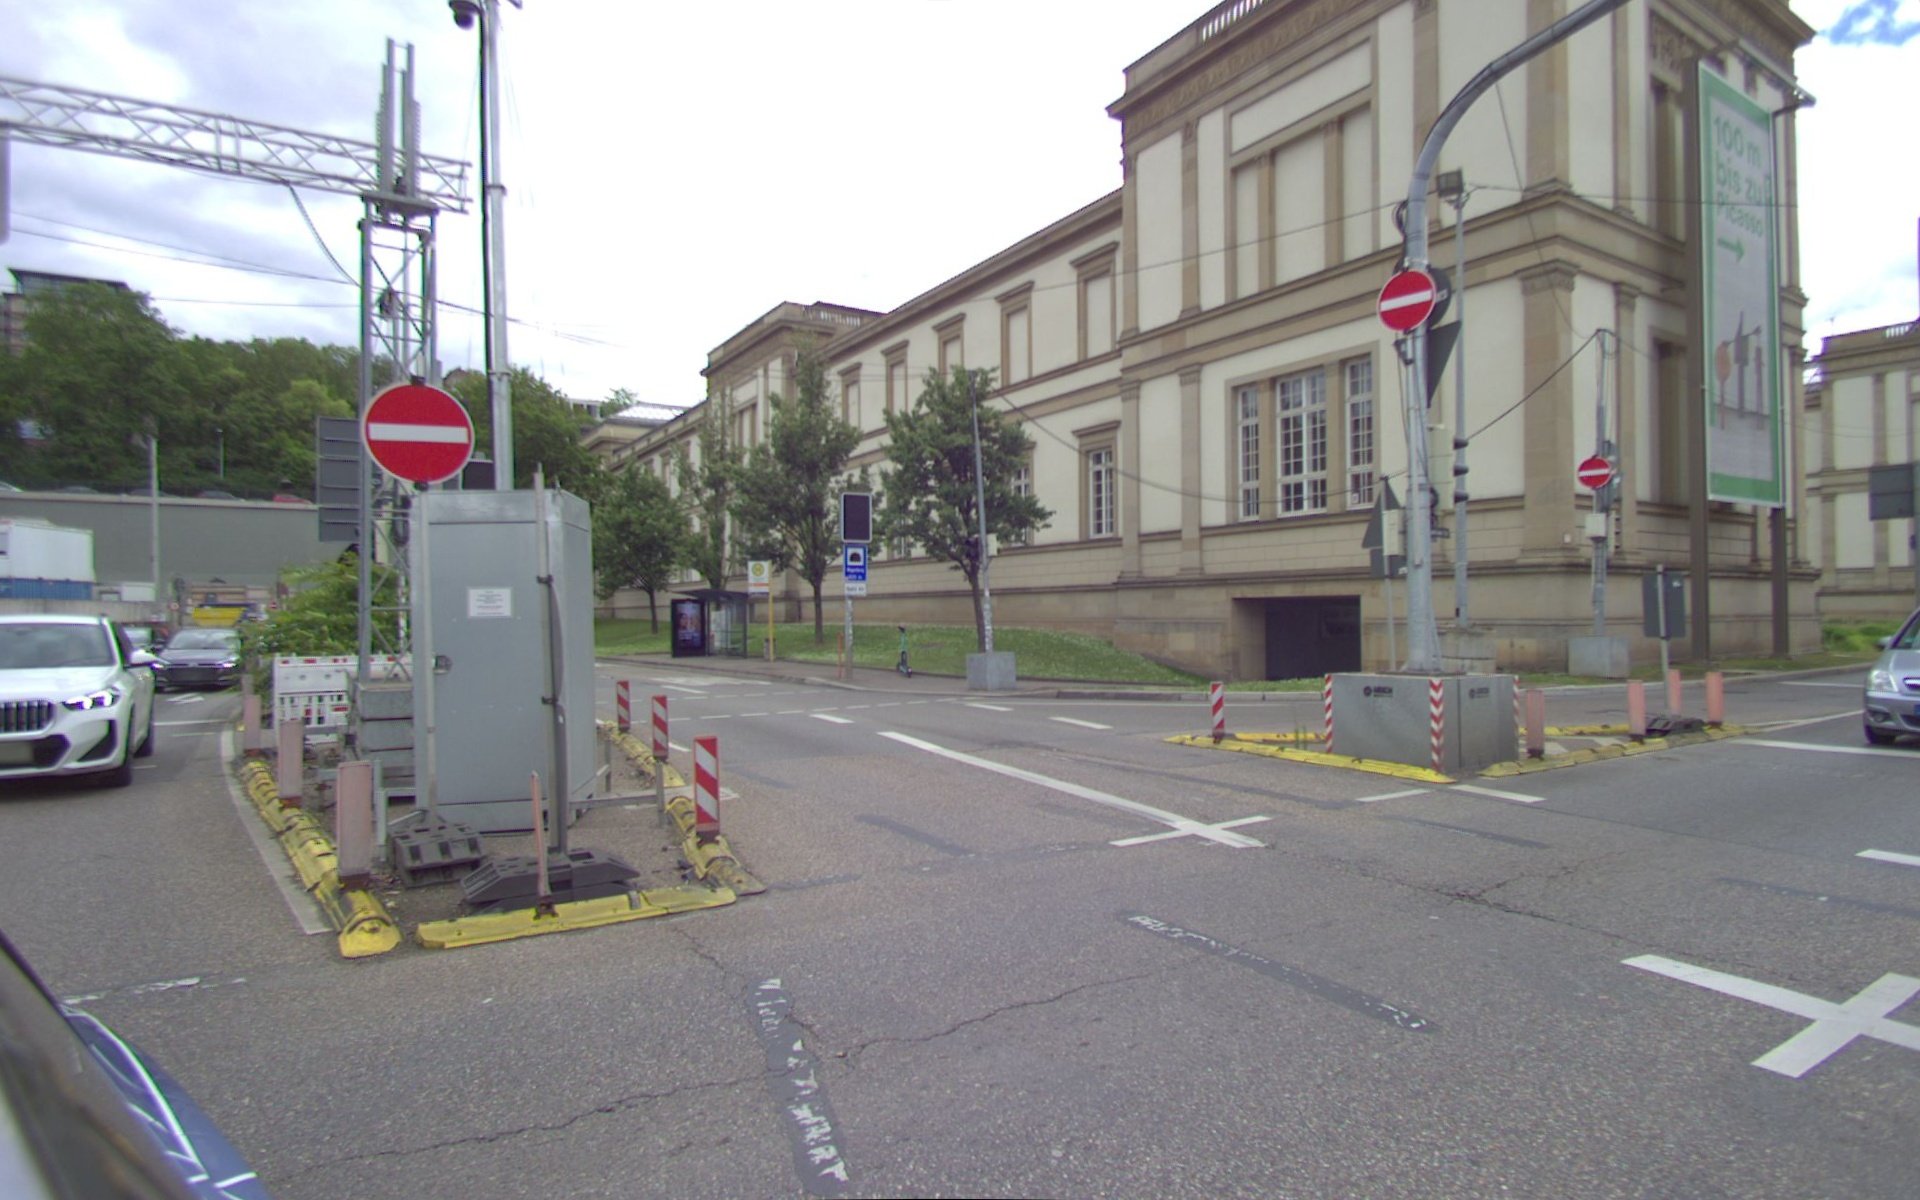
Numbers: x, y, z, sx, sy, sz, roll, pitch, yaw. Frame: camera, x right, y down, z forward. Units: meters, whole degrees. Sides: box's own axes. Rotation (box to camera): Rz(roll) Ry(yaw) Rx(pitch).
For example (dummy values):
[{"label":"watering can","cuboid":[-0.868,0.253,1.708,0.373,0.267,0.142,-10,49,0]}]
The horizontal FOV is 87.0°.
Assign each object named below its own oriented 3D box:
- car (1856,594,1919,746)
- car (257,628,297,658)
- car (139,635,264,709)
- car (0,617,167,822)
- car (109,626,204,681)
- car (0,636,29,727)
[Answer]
[{"label":"car","cuboid":[11.611,0.678,11.019,4.062,1.515,1.776,-1,0,-33]},{"label":"car","cuboid":[-37.920,2.364,56.234,1.542,1.586,3.300,0,-2,-29]},{"label":"car","cuboid":[-18.096,1.655,24.343,1.966,1.564,4.012,0,-1,-31]},{"label":"car","cuboid":[-8.776,1.003,9.473,1.783,1.617,3.723,1,-2,-33]},{"label":"car","cuboid":[-24.963,1.619,31.570,1.663,1.586,4.006,0,-2,-29]},{"label":"car","cuboid":[-17.878,1.463,17.802,1.664,1.586,3.722,-1,-1,-34]}]
